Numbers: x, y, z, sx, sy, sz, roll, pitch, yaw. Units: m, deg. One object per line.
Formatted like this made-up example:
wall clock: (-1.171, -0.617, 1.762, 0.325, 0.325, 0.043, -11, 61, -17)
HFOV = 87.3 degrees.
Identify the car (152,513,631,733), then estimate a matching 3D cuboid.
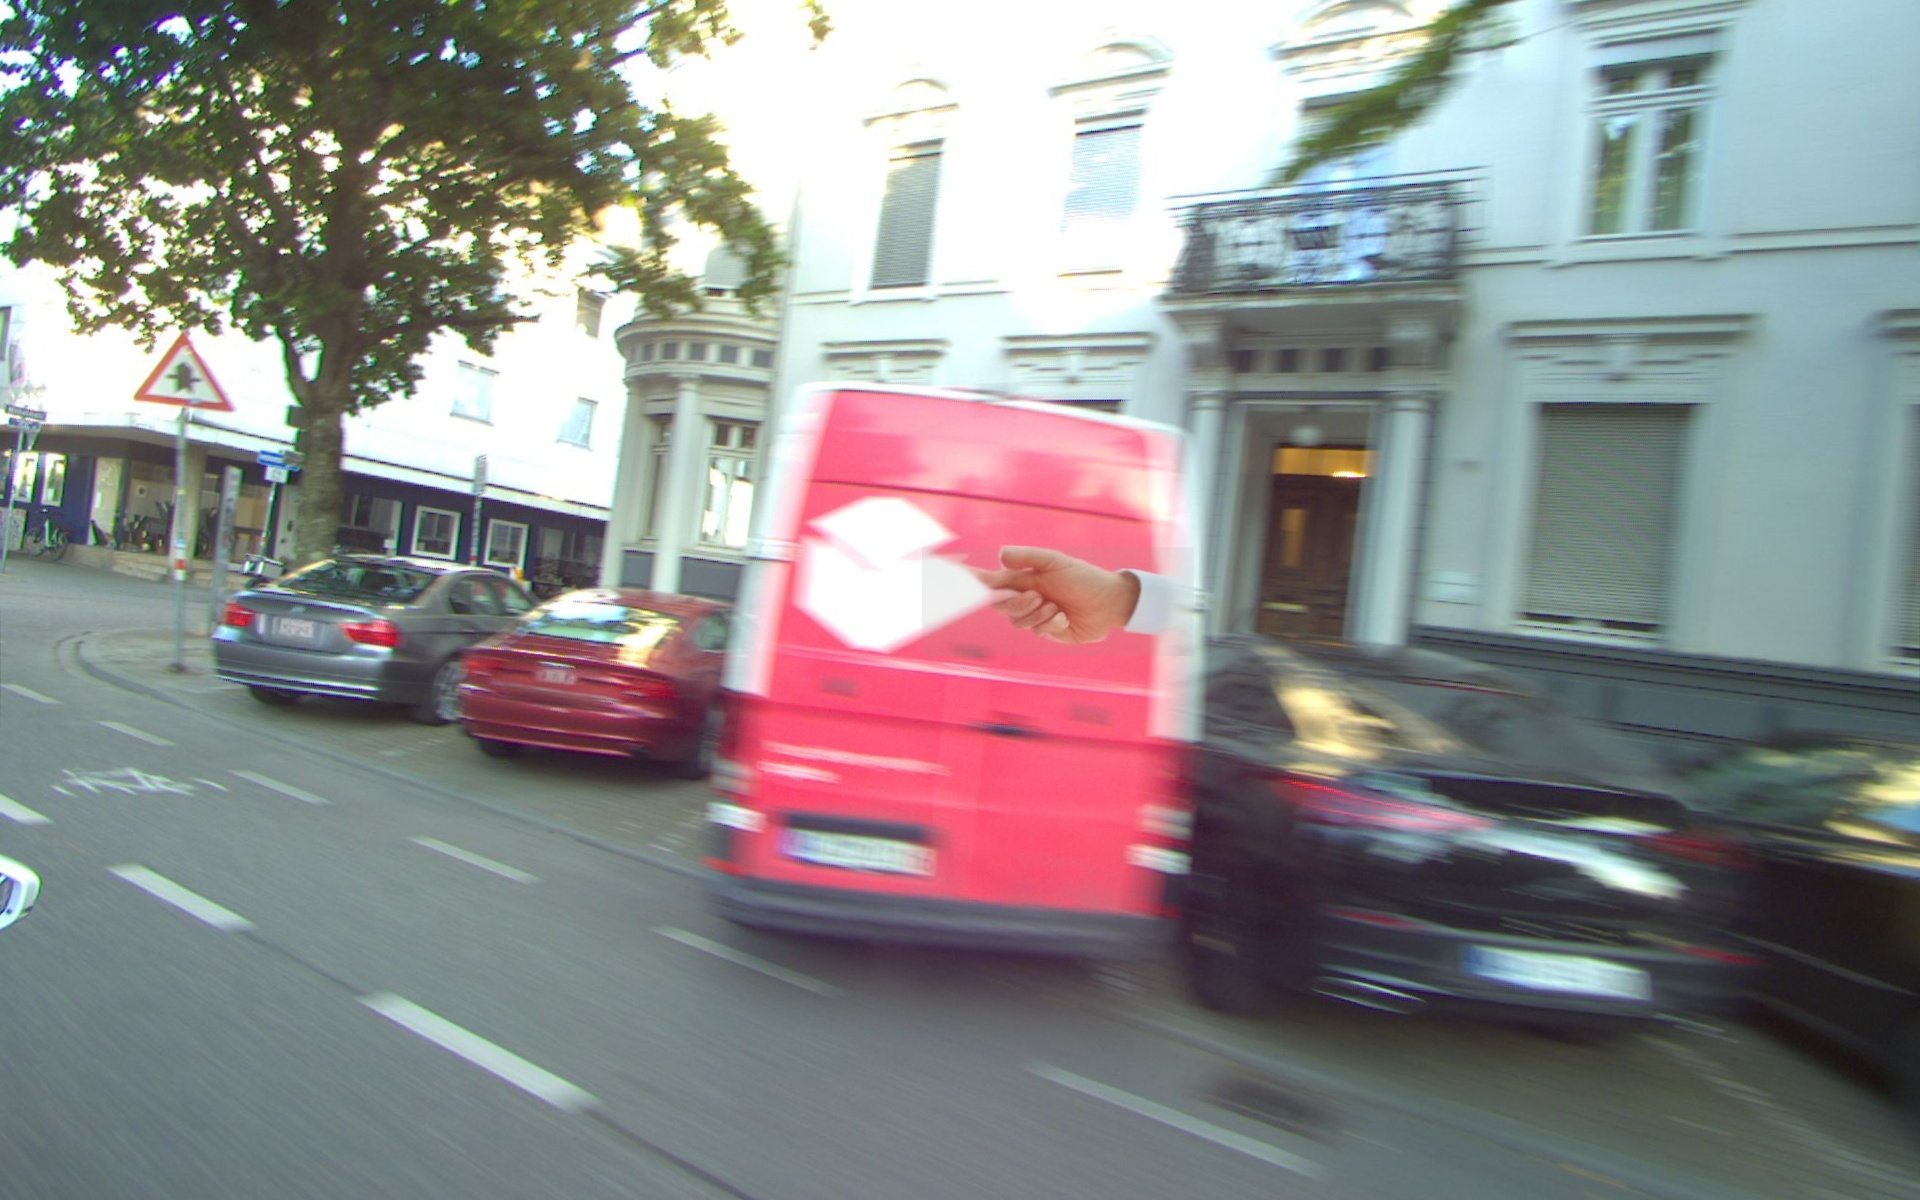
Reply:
car: (-5.373, 0.188, 10.413, 1.827, 1.532, 4.607, 8, 1, 6)

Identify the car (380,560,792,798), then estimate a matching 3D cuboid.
car: (-3.012, 0.558, 9.300, 1.950, 1.463, 4.406, 7, 0, 1)

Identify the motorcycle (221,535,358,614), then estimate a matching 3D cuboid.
motorcycle: (-14.689, -0.540, 22.086, 1.270, 1.421, 2.092, 6, -2, 36)

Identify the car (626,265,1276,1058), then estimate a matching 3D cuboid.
car: (-0.246, 0.312, 6.592, 2.133, 2.726, 5.637, 7, -1, -5)

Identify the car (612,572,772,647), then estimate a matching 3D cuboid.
car: (-8.024, 0.330, 30.494, 1.826, 1.688, 4.348, 7, -2, 38)
